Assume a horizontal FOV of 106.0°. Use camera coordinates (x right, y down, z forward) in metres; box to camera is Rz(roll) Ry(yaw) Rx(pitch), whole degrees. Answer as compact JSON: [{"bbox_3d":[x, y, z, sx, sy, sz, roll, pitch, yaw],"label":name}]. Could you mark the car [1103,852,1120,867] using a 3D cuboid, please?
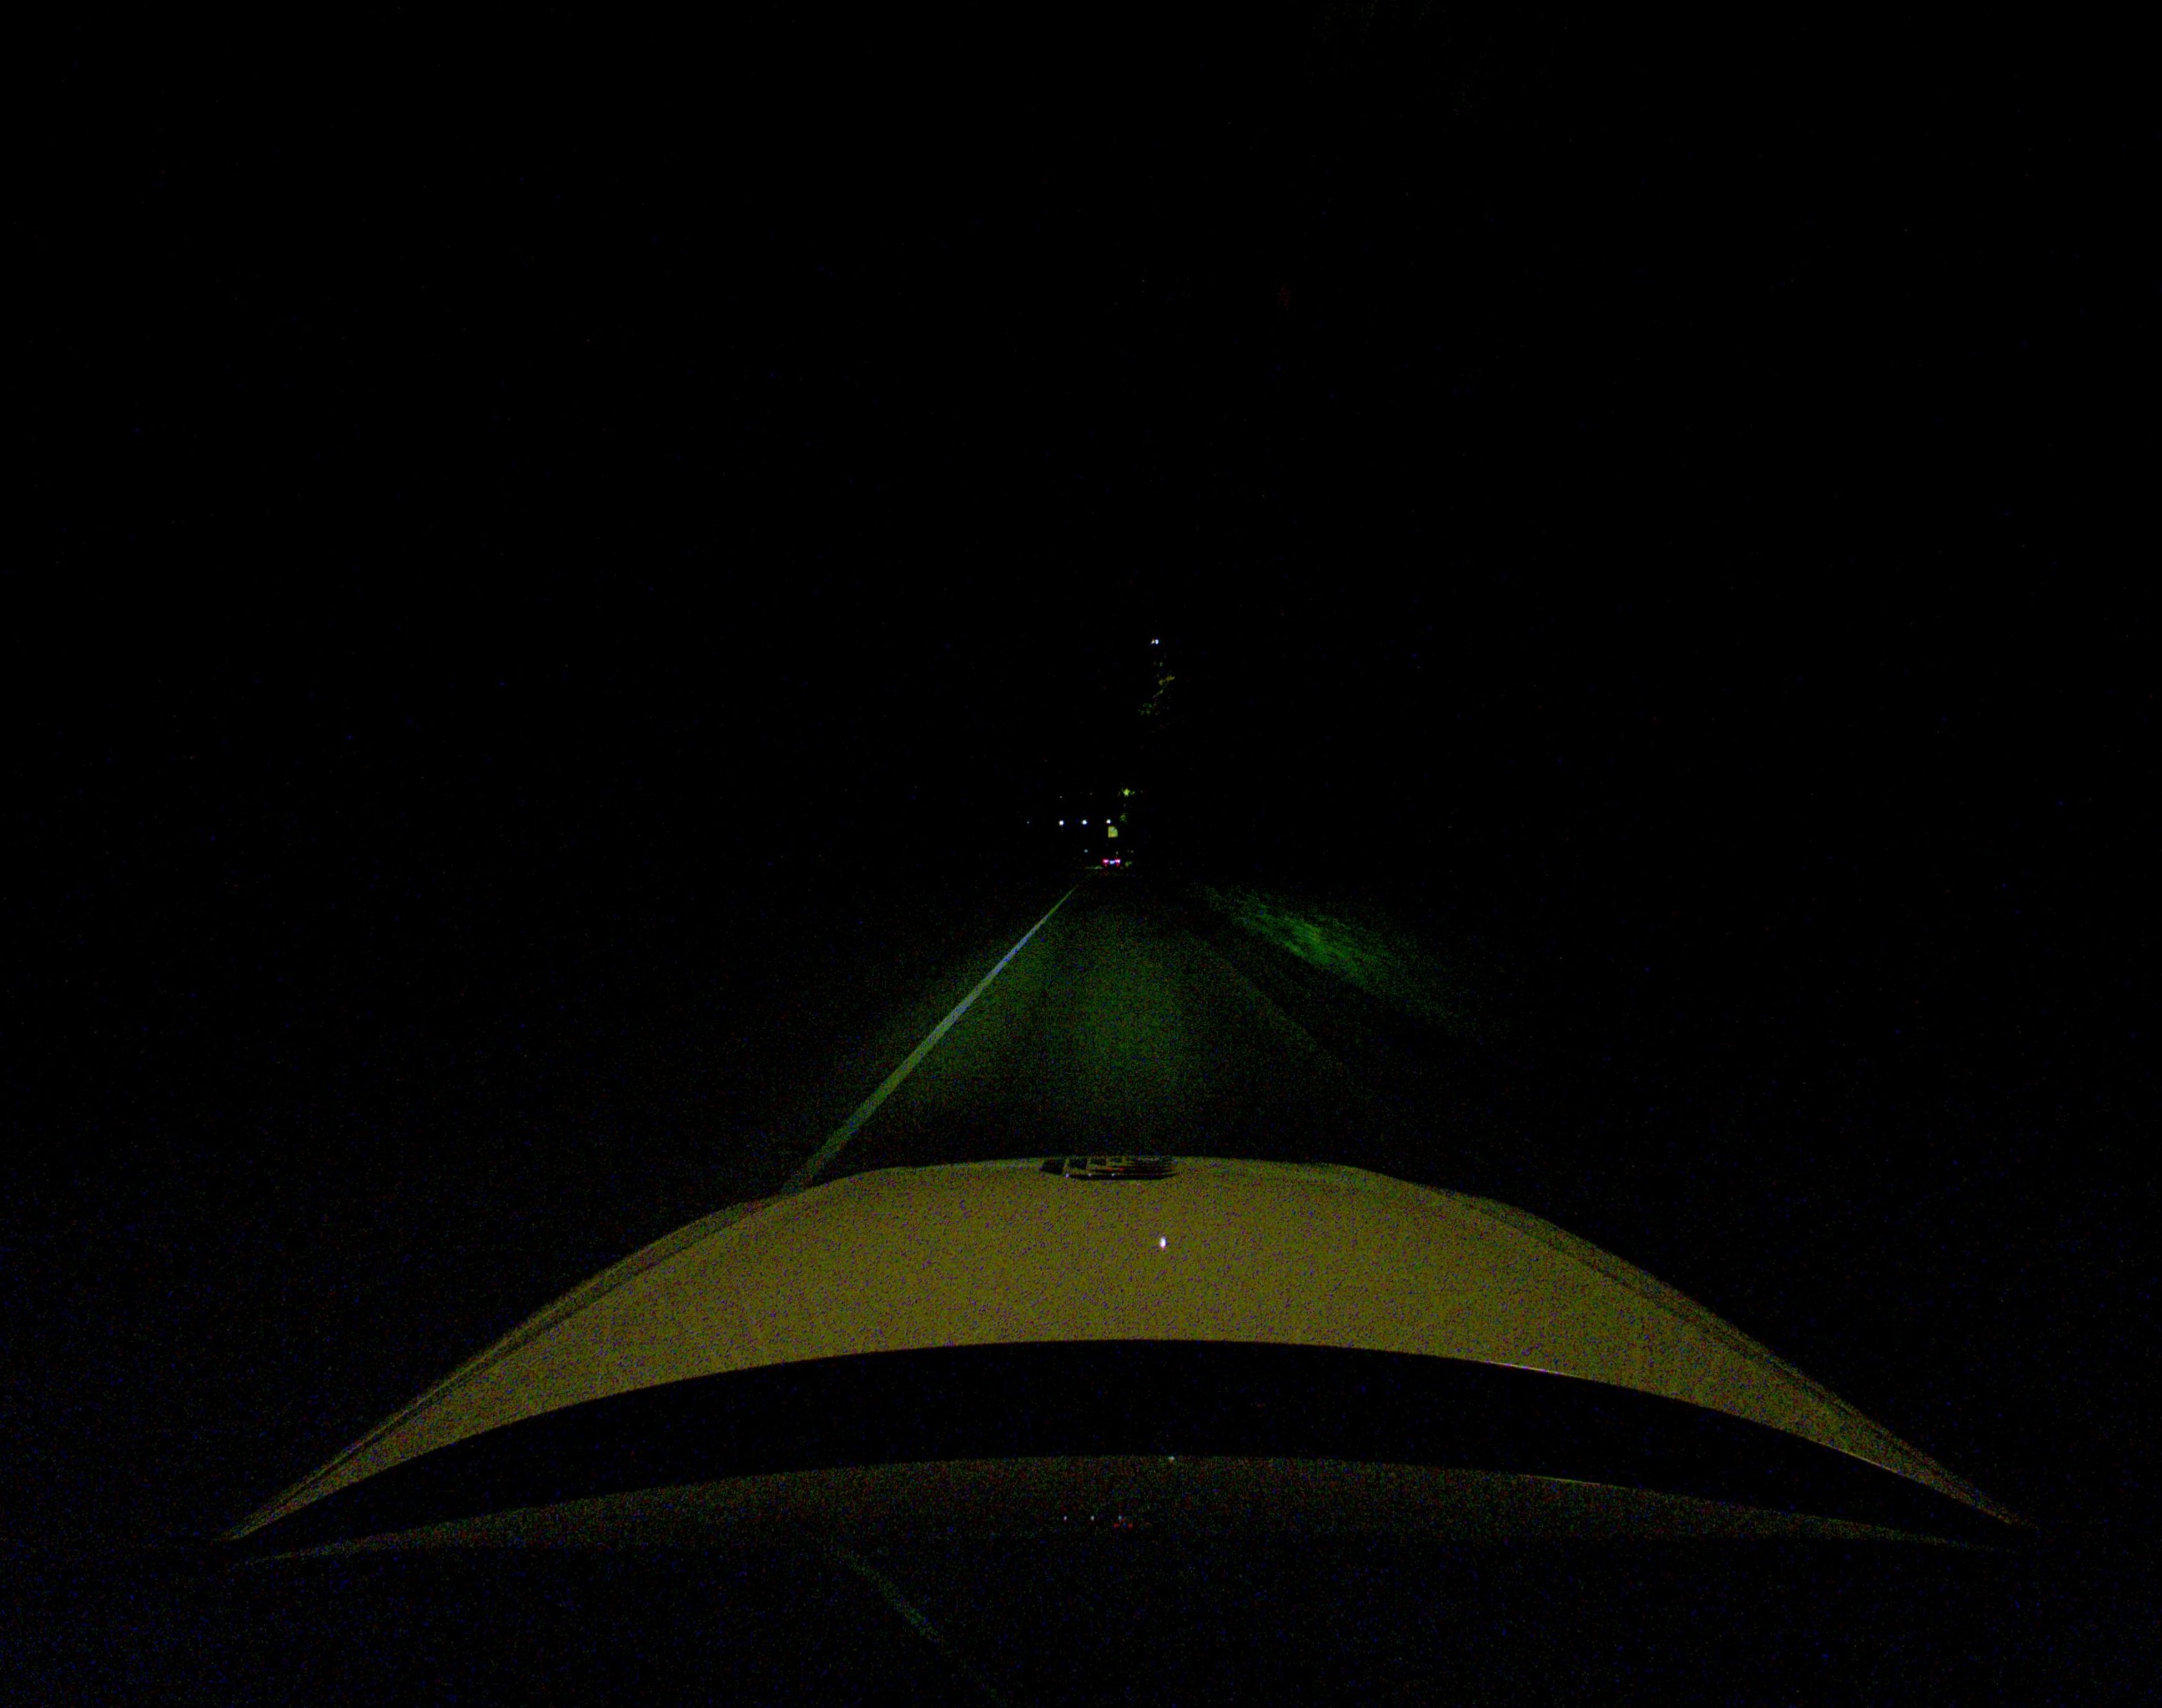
[{"bbox_3d":[3.361,0.585,89.757,1.756,1.641,3.726,-1,1,3],"label":"car"}]
